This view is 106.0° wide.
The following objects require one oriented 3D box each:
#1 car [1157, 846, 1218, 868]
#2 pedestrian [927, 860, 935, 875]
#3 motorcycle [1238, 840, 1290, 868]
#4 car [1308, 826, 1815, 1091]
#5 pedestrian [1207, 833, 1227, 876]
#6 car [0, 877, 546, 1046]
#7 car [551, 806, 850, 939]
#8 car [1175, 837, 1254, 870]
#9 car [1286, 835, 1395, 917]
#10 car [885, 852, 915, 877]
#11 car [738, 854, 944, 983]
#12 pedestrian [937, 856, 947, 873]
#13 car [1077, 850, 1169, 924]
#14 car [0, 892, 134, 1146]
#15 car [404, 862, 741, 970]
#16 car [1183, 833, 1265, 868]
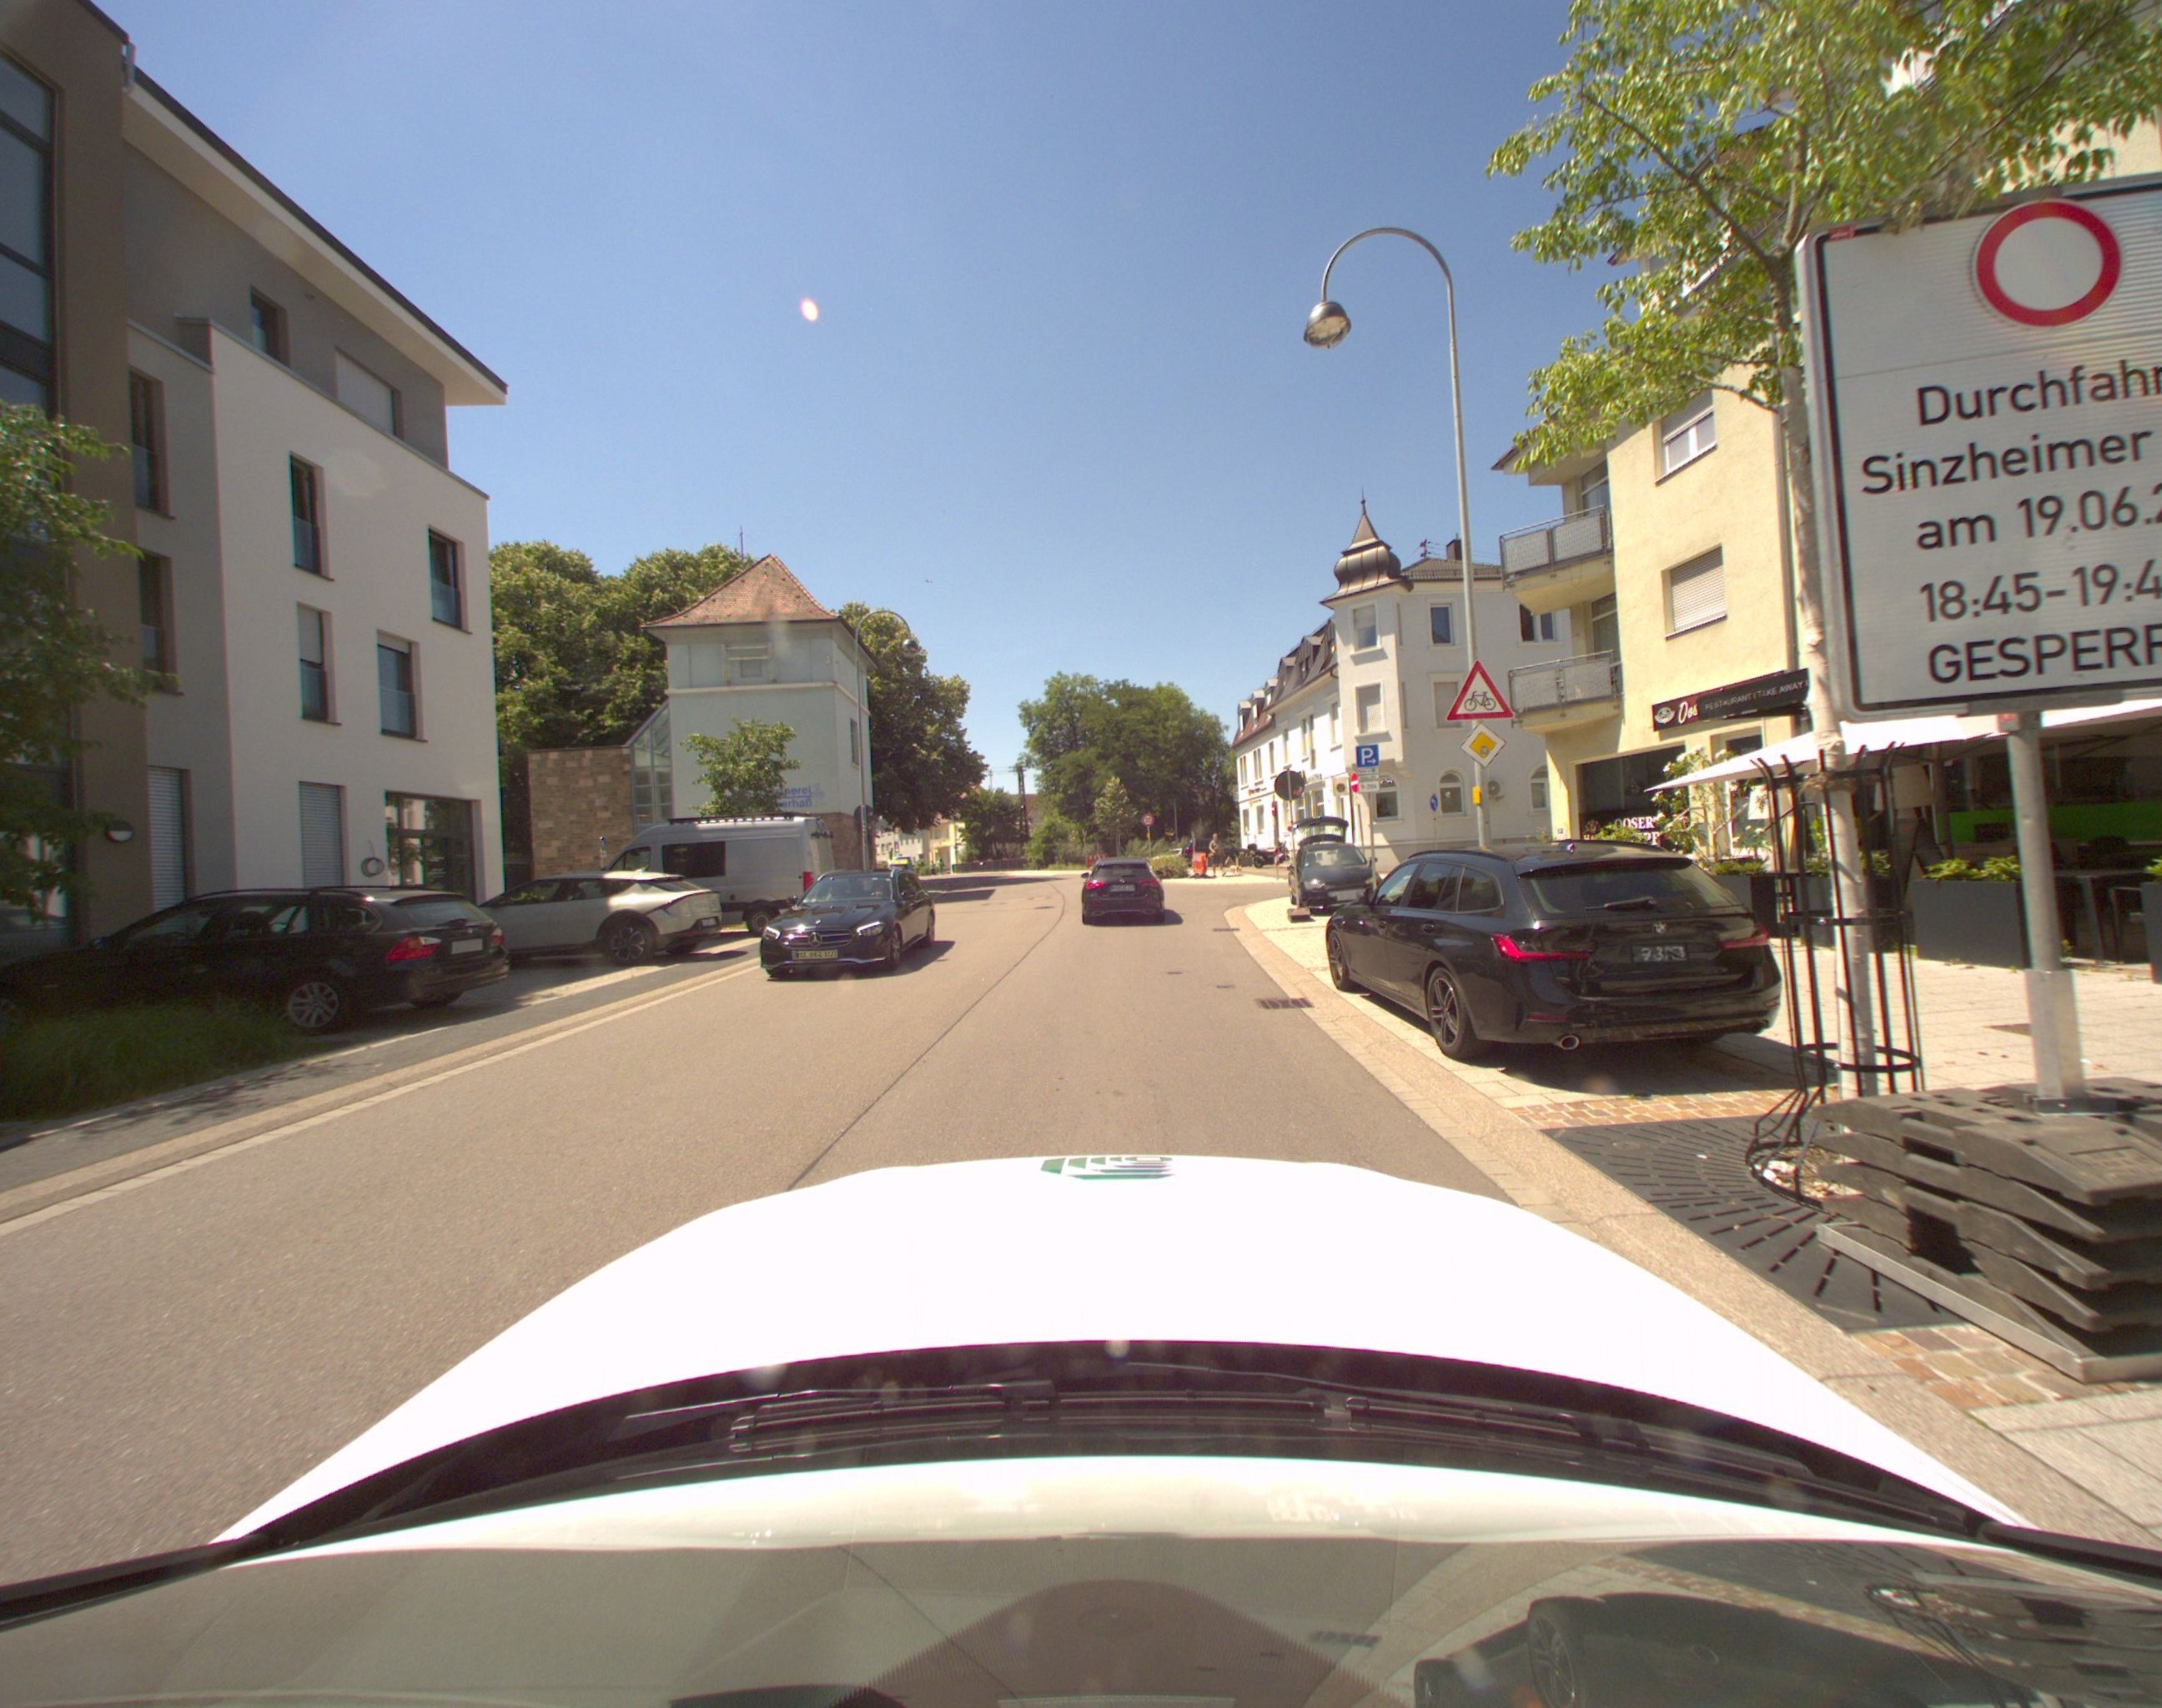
[{"bbox_3d":[7.528,0.209,57.331,4.223,1.349,1.840,-1,4,-38],"label":"car"},{"bbox_3d":[-16.242,1.495,88.168,0.618,1.612,0.829,-3,-1,-32],"label":"pedestrian"},{"bbox_3d":[9.197,-0.002,40.897,2.371,1.275,0.855,-2,0,-3],"label":"motorcycle"},{"bbox_3d":[3.406,0.621,7.006,1.717,1.405,4.611,-4,-1,2],"label":"car"},{"bbox_3d":[5.851,0.021,35.045,0.742,1.796,0.845,-3,1,5],"label":"pedestrian"},{"bbox_3d":[-8.524,1.041,8.742,4.194,1.437,1.882,-2,-1,-6],"label":"car"},{"bbox_3d":[-8.587,0.408,18.842,5.750,2.732,2.290,-2,-1,-1],"label":"car"},{"bbox_3d":[7.562,-0.028,46.304,4.066,1.716,1.854,-2,-1,-4],"label":"car"},{"bbox_3d":[5.648,0.402,18.165,1.859,1.491,3.875,-4,1,12],"label":"car"},{"bbox_3d":[-20.125,1.177,90.405,2.145,2.541,4.608,-3,-1,-27],"label":"car"},{"bbox_3d":[-3.542,0.849,13.069,1.888,1.553,4.797,-2,1,-1],"label":"car"},{"bbox_3d":[-14.967,1.098,87.588,0.666,1.741,0.693,-2,-1,-45],"label":"pedestrian"},{"bbox_3d":[0.976,0.759,18.899,1.820,1.442,4.002,-3,-2,3],"label":"car"},{"bbox_3d":[-8.192,1.006,4.220,4.024,1.430,1.997,-2,-1,-4],"label":"car"},{"bbox_3d":[-8.508,0.993,13.982,4.442,1.591,1.998,-2,-1,-2],"label":"car"},{"bbox_3d":[7.756,-0.184,44.344,4.066,1.716,1.854,-2,-1,-4],"label":"car"}]
